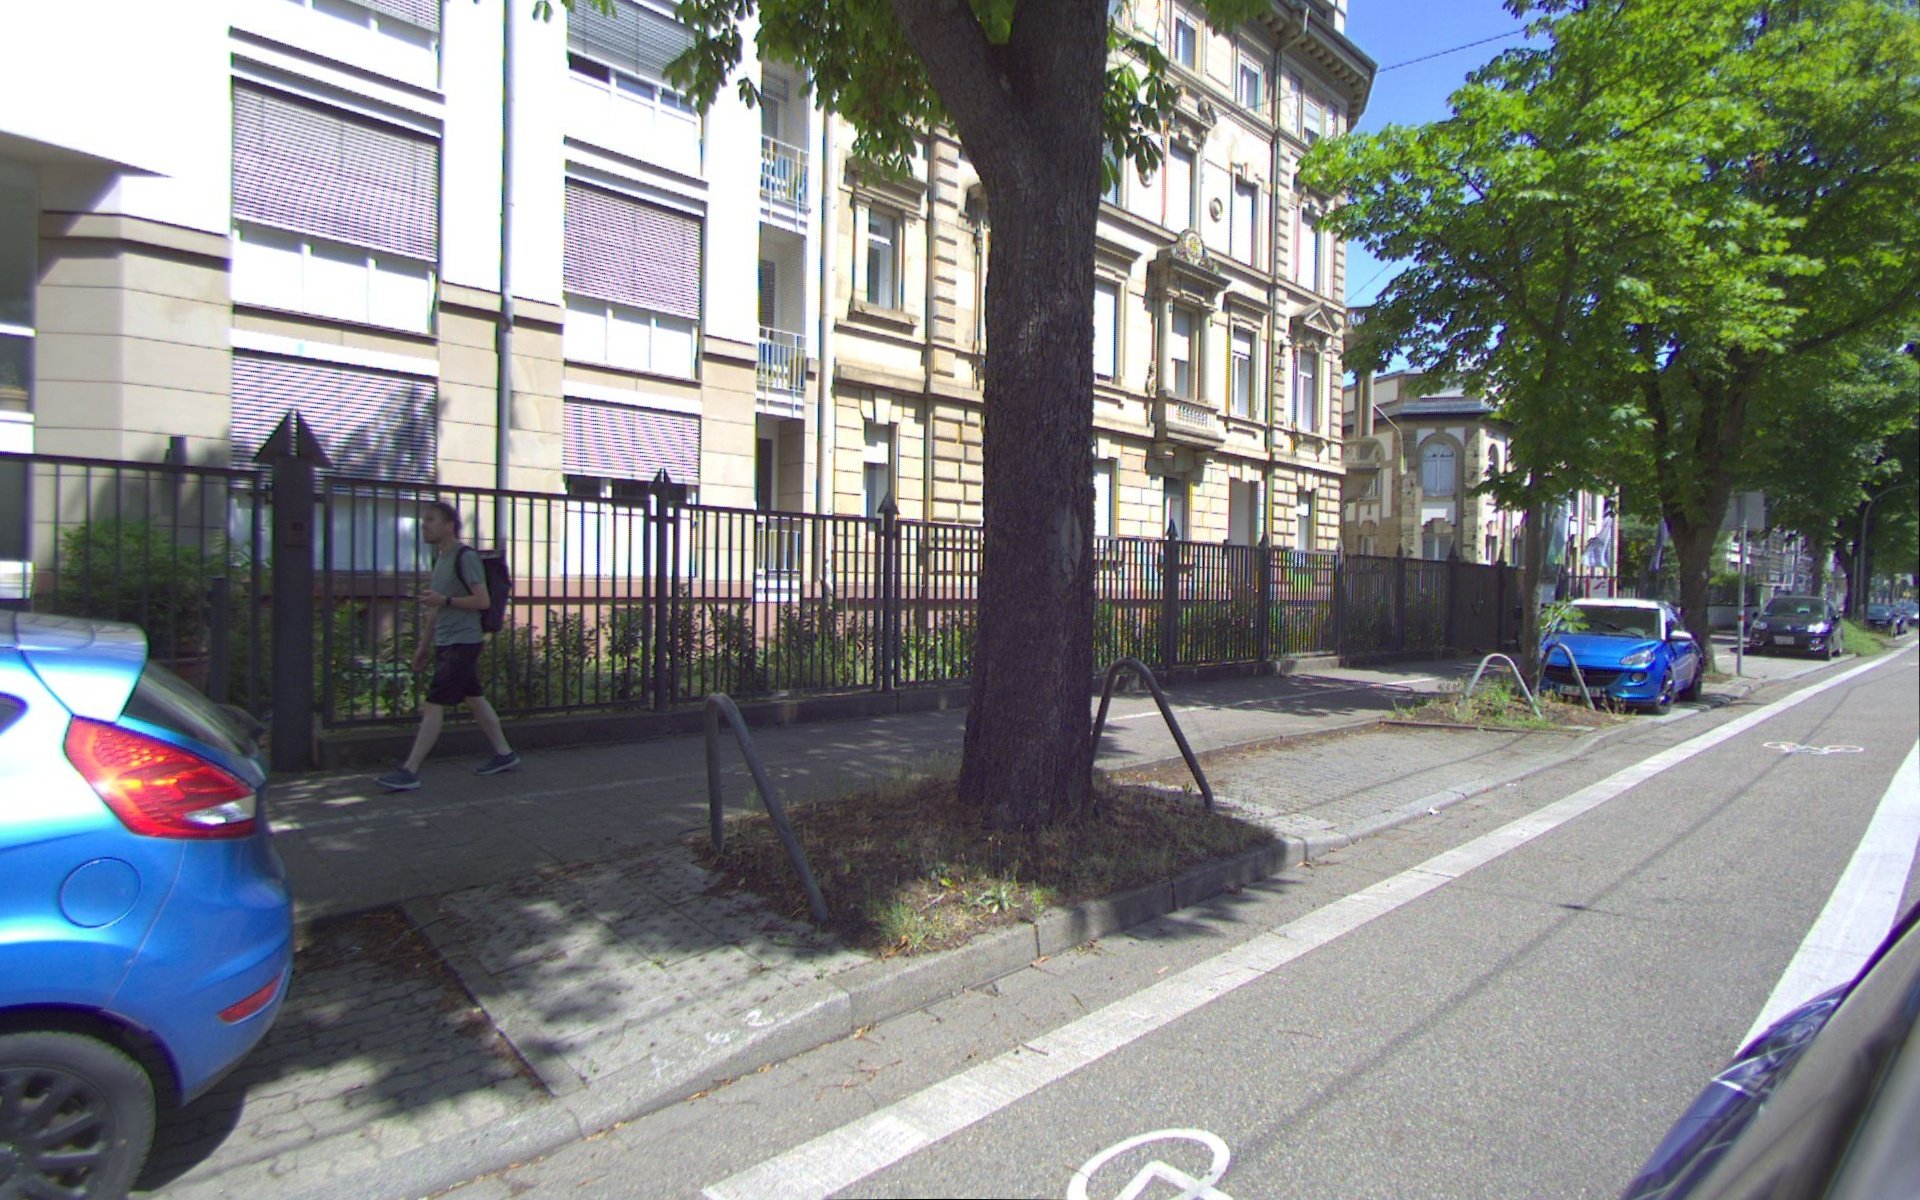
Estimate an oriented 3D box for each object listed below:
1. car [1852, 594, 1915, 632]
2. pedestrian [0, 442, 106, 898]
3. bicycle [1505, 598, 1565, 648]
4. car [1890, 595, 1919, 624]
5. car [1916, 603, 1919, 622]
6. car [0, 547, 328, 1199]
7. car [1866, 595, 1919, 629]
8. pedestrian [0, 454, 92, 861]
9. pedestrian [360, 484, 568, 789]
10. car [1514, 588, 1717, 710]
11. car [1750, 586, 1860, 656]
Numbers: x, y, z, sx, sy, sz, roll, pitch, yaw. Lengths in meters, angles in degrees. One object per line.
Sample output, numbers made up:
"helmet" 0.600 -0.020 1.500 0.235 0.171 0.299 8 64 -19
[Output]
"car" 38.511 0.521 42.179 3.759 1.420 1.624 0 4 -44
"pedestrian" -4.133 0.269 4.152 0.931 1.799 0.706 0 1 -42
"bicycle" 13.291 0.517 23.361 1.946 1.084 0.608 0 1 -42
"car" 51.326 0.514 54.448 3.933 1.420 1.624 0 4 -44
"car" 75.974 1.039 79.012 3.933 1.420 1.624 0 4 -44
"car" -3.494 0.632 1.877 3.660 1.460 1.680 0 5 -44
"car" 43.206 0.538 46.791 3.933 1.420 1.624 0 4 -44
"pedestrian" -4.630 0.242 4.559 1.035 1.783 0.788 0 1 -45
"pedestrian" -3.253 0.208 6.661 1.066 1.820 0.685 0 1 -44
"car" 9.329 0.601 14.319 3.417 1.471 1.692 0 1 -44
"car" 22.722 0.511 27.160 4.015 1.636 1.732 0 3 -43
